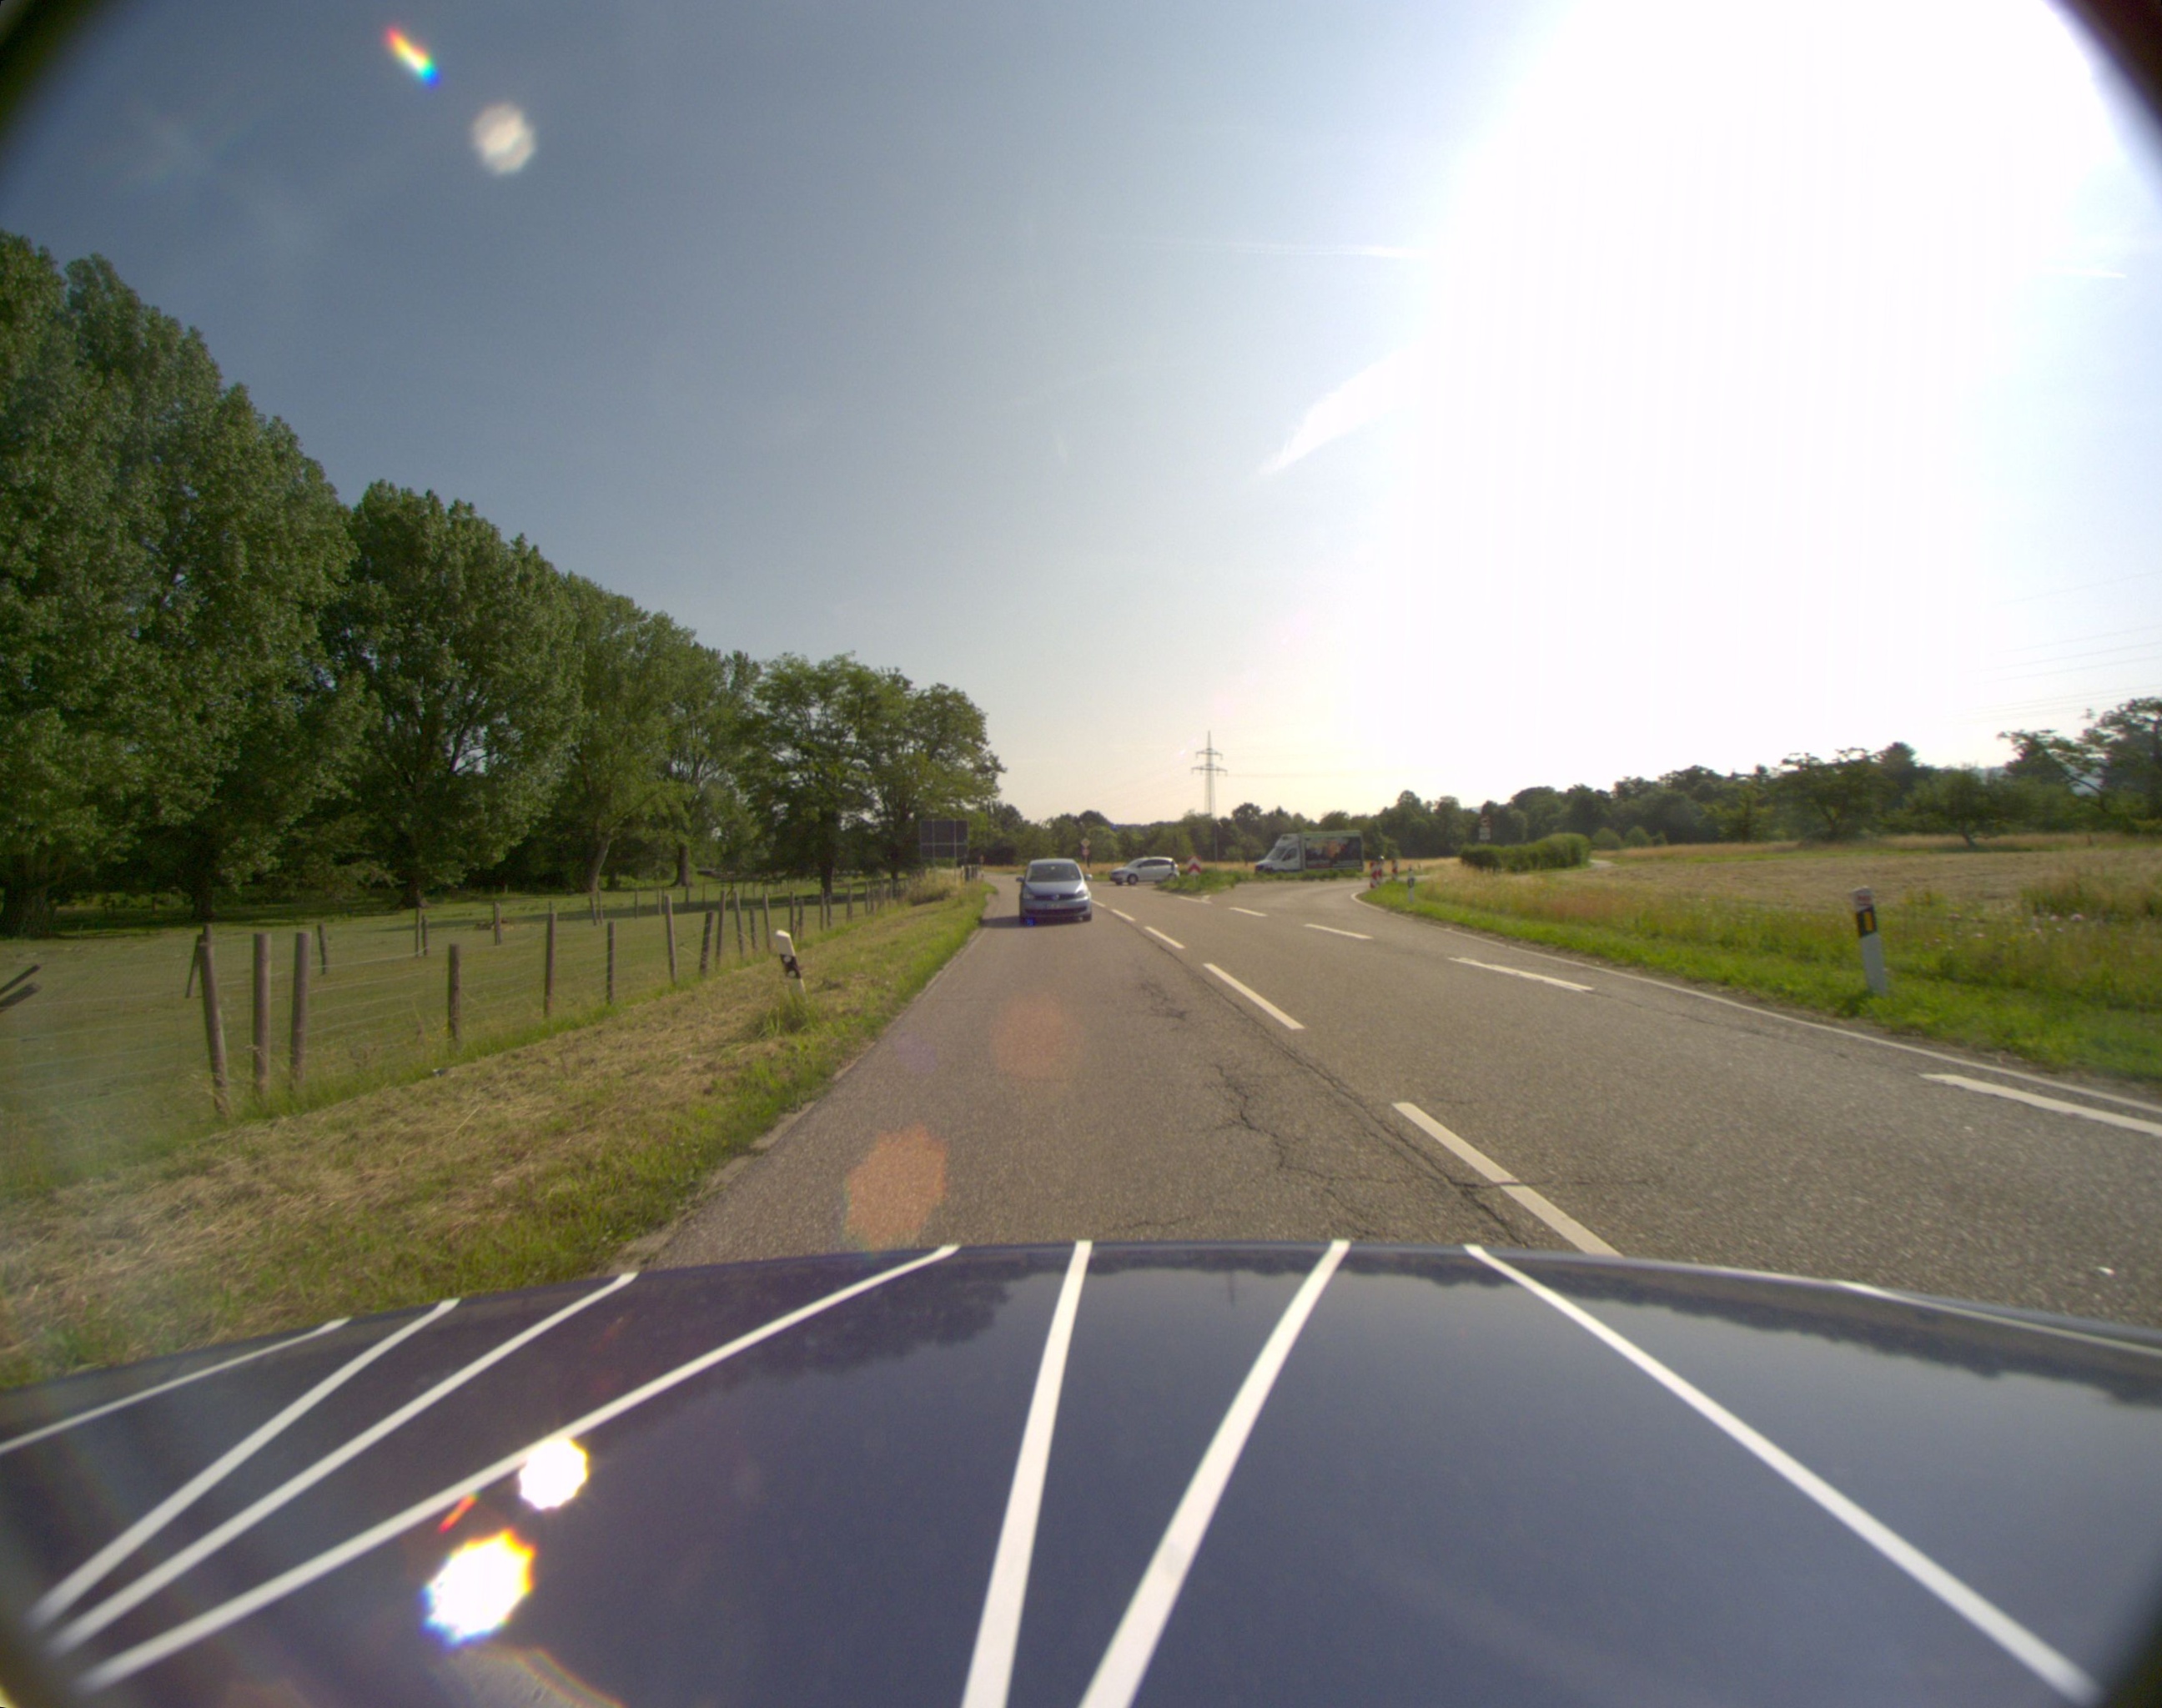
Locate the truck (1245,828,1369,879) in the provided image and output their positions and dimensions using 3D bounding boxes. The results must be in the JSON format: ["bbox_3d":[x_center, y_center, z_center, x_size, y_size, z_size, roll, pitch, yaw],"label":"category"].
[{"bbox_3d":[14.578,-0.041,48.992,7.370,3.027,2.580,-2,0,-17],"label":"truck"}]

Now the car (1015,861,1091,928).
[{"bbox_3d":[-0.635,0.975,19.844,1.718,1.495,4.094,-2,0,1],"label":"car"}]

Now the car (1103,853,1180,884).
[{"bbox_3d":[3.525,0.809,44.231,3.912,1.570,1.997,-3,0,-22],"label":"car"}]
